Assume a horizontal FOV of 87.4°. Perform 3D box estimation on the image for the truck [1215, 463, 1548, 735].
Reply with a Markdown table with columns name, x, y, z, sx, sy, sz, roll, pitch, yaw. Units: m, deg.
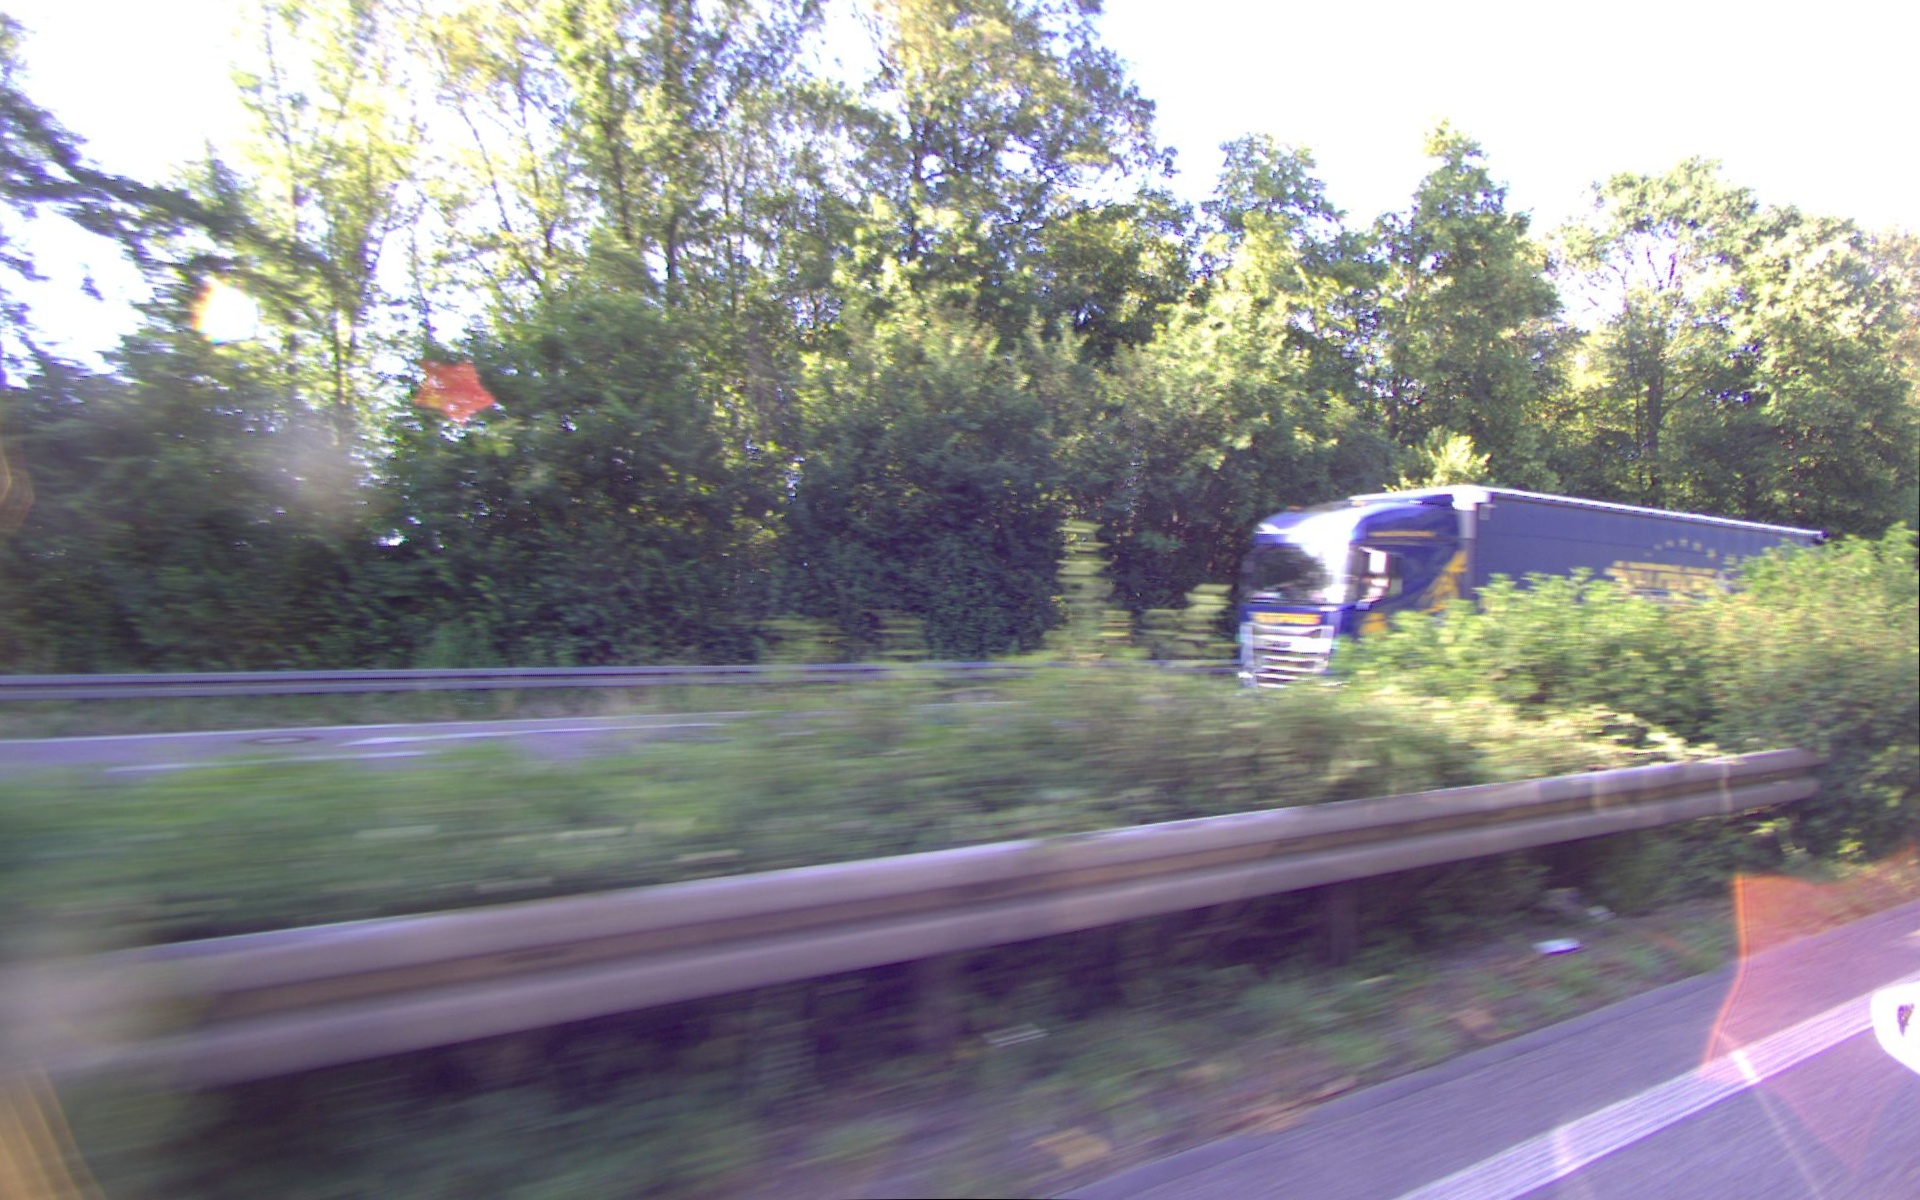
| name | x | y | z | sx | sy | sz | roll | pitch | yaw |
| --- | --- | --- | --- | --- | --- | --- | --- | --- | --- |
| truck | 7.522 | 0.049 | 17.854 | 5.372 | 4.151 | 2.703 | 2 | 0 | -30 |

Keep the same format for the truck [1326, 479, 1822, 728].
| name | x | y | z | sx | sy | sz | roll | pitch | yaw |
| --- | --- | --- | --- | --- | --- | --- | --- | --- | --- |
| truck | 13.659 | 0.228 | 21.423 | 13.855 | 4.151 | 2.695 | 2 | 0 | -30 |
